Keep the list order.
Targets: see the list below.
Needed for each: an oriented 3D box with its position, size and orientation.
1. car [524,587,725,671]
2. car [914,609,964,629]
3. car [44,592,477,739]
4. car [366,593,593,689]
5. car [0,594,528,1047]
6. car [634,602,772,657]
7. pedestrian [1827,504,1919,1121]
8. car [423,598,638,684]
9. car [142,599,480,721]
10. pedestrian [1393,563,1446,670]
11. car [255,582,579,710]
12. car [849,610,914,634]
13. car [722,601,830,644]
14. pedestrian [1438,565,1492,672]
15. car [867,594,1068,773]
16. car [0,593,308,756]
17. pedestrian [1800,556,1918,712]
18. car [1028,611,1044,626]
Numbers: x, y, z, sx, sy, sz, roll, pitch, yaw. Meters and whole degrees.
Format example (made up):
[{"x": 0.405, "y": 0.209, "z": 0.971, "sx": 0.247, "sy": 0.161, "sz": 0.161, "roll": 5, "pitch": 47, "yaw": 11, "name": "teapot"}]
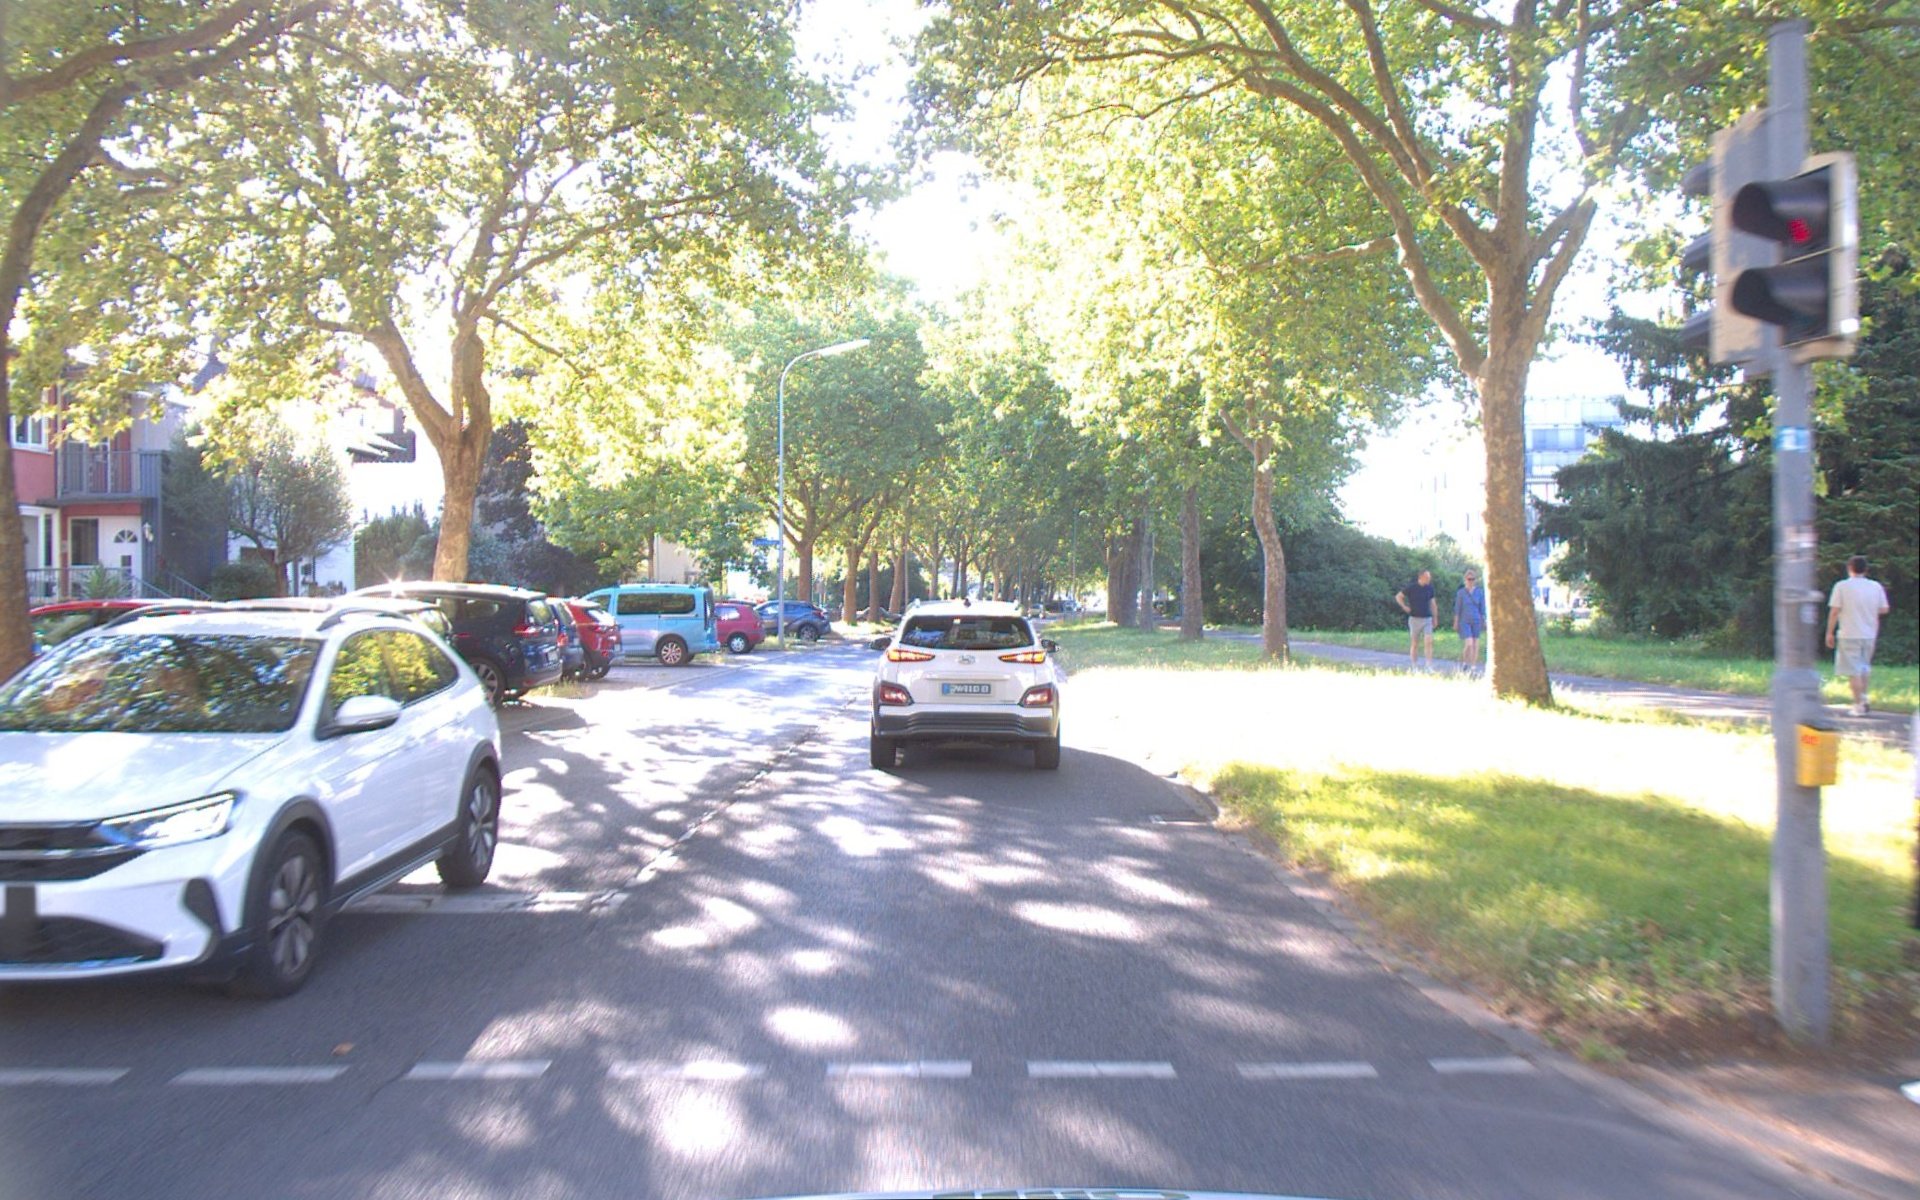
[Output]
[{"x": -7.764, "y": 0.669, "z": 38.596, "sx": 4.297, "sy": 1.856, "sz": 1.995, "roll": 1, "pitch": 0, "yaw": -2, "name": "car"}, {"x": -1.756, "y": 1.618, "z": 138.316, "sx": 4.096, "sy": 1.612, "sz": 2.000, "roll": 1, "pitch": -1, "yaw": 1, "name": "car"}, {"x": -7.797, "y": 0.718, "z": 18.748, "sx": 4.078, "sy": 1.527, "sz": 1.875, "roll": 1, "pitch": -1, "yaw": -2, "name": "car"}, {"x": -8.263, "y": 0.704, "z": 28.696, "sx": 3.442, "sy": 1.543, "sz": 1.725, "roll": 1, "pitch": 0, "yaw": -4, "name": "car"}, {"x": -3.388, "y": 0.759, "z": 7.634, "sx": 1.681, "sy": 1.527, "sz": 4.093, "roll": 0, "pitch": -1, "yaw": 0, "name": "car"}, {"x": -7.496, "y": 0.843, "z": 48.524, "sx": 3.793, "sy": 1.545, "sz": 1.664, "roll": 0, "pitch": 0, "yaw": -2, "name": "car"}, {"x": 3.016, "y": 0.593, "z": 4.628, "sx": 0.623, "sy": 1.749, "sz": 0.824, "roll": -2, "pitch": 0, "yaw": -8, "name": "pedestrian"}, {"x": -8.035, "y": 0.751, "z": 31.153, "sx": 3.567, "sy": 1.543, "sz": 1.782, "roll": 0, "pitch": 0, "yaw": 0, "name": "car"}, {"x": -8.332, "y": 0.752, "z": 21.469, "sx": 3.682, "sy": 1.509, "sz": 1.754, "roll": 0, "pitch": 0, "yaw": 0, "name": "car"}, {"x": 8.194, "y": 0.300, "z": 29.515, "sx": 0.745, "sy": 1.878, "sz": 0.787, "roll": 0, "pitch": -1, "yaw": 3, "name": "pedestrian"}, {"x": -7.682, "y": 0.640, "z": 23.679, "sx": 4.008, "sy": 1.746, "sz": 1.831, "roll": 0, "pitch": -1, "yaw": -1, "name": "car"}, {"x": -4.768, "y": 1.352, "z": 100.857, "sx": 3.745, "sy": 1.339, "sz": 1.790, "roll": 2, "pitch": -1, "yaw": 3, "name": "car"}, {"x": -6.925, "y": 0.851, "z": 62.497, "sx": 3.907, "sy": 1.545, "sz": 1.817, "roll": 1, "pitch": 0, "yaw": -2, "name": "car"}, {"x": 8.992, "y": 0.328, "z": 29.490, "sx": 0.739, "sy": 1.880, "sz": 0.802, "roll": 0, "pitch": -1, "yaw": 3, "name": "pedestrian"}, {"x": -0.010, "y": 0.767, "z": 16.871, "sx": 1.799, "sy": 1.583, "sz": 3.998, "roll": 1, "pitch": 0, "yaw": -2, "name": "car"}, {"x": -8.450, "y": 0.702, "z": 16.392, "sx": 3.272, "sy": 1.506, "sz": 1.695, "roll": 1, "pitch": -1, "yaw": -2, "name": "car"}, {"x": 9.944, "y": 0.370, "z": 18.333, "sx": 0.763, "sy": 1.678, "sz": 0.938, "roll": -1, "pitch": -1, "yaw": -1, "name": "pedestrian"}, {"x": 7.608, "y": 1.893, "z": 165.845, "sx": 1.654, "sy": 1.490, "sz": 3.695, "roll": 1, "pitch": -1, "yaw": 2, "name": "car"}]
